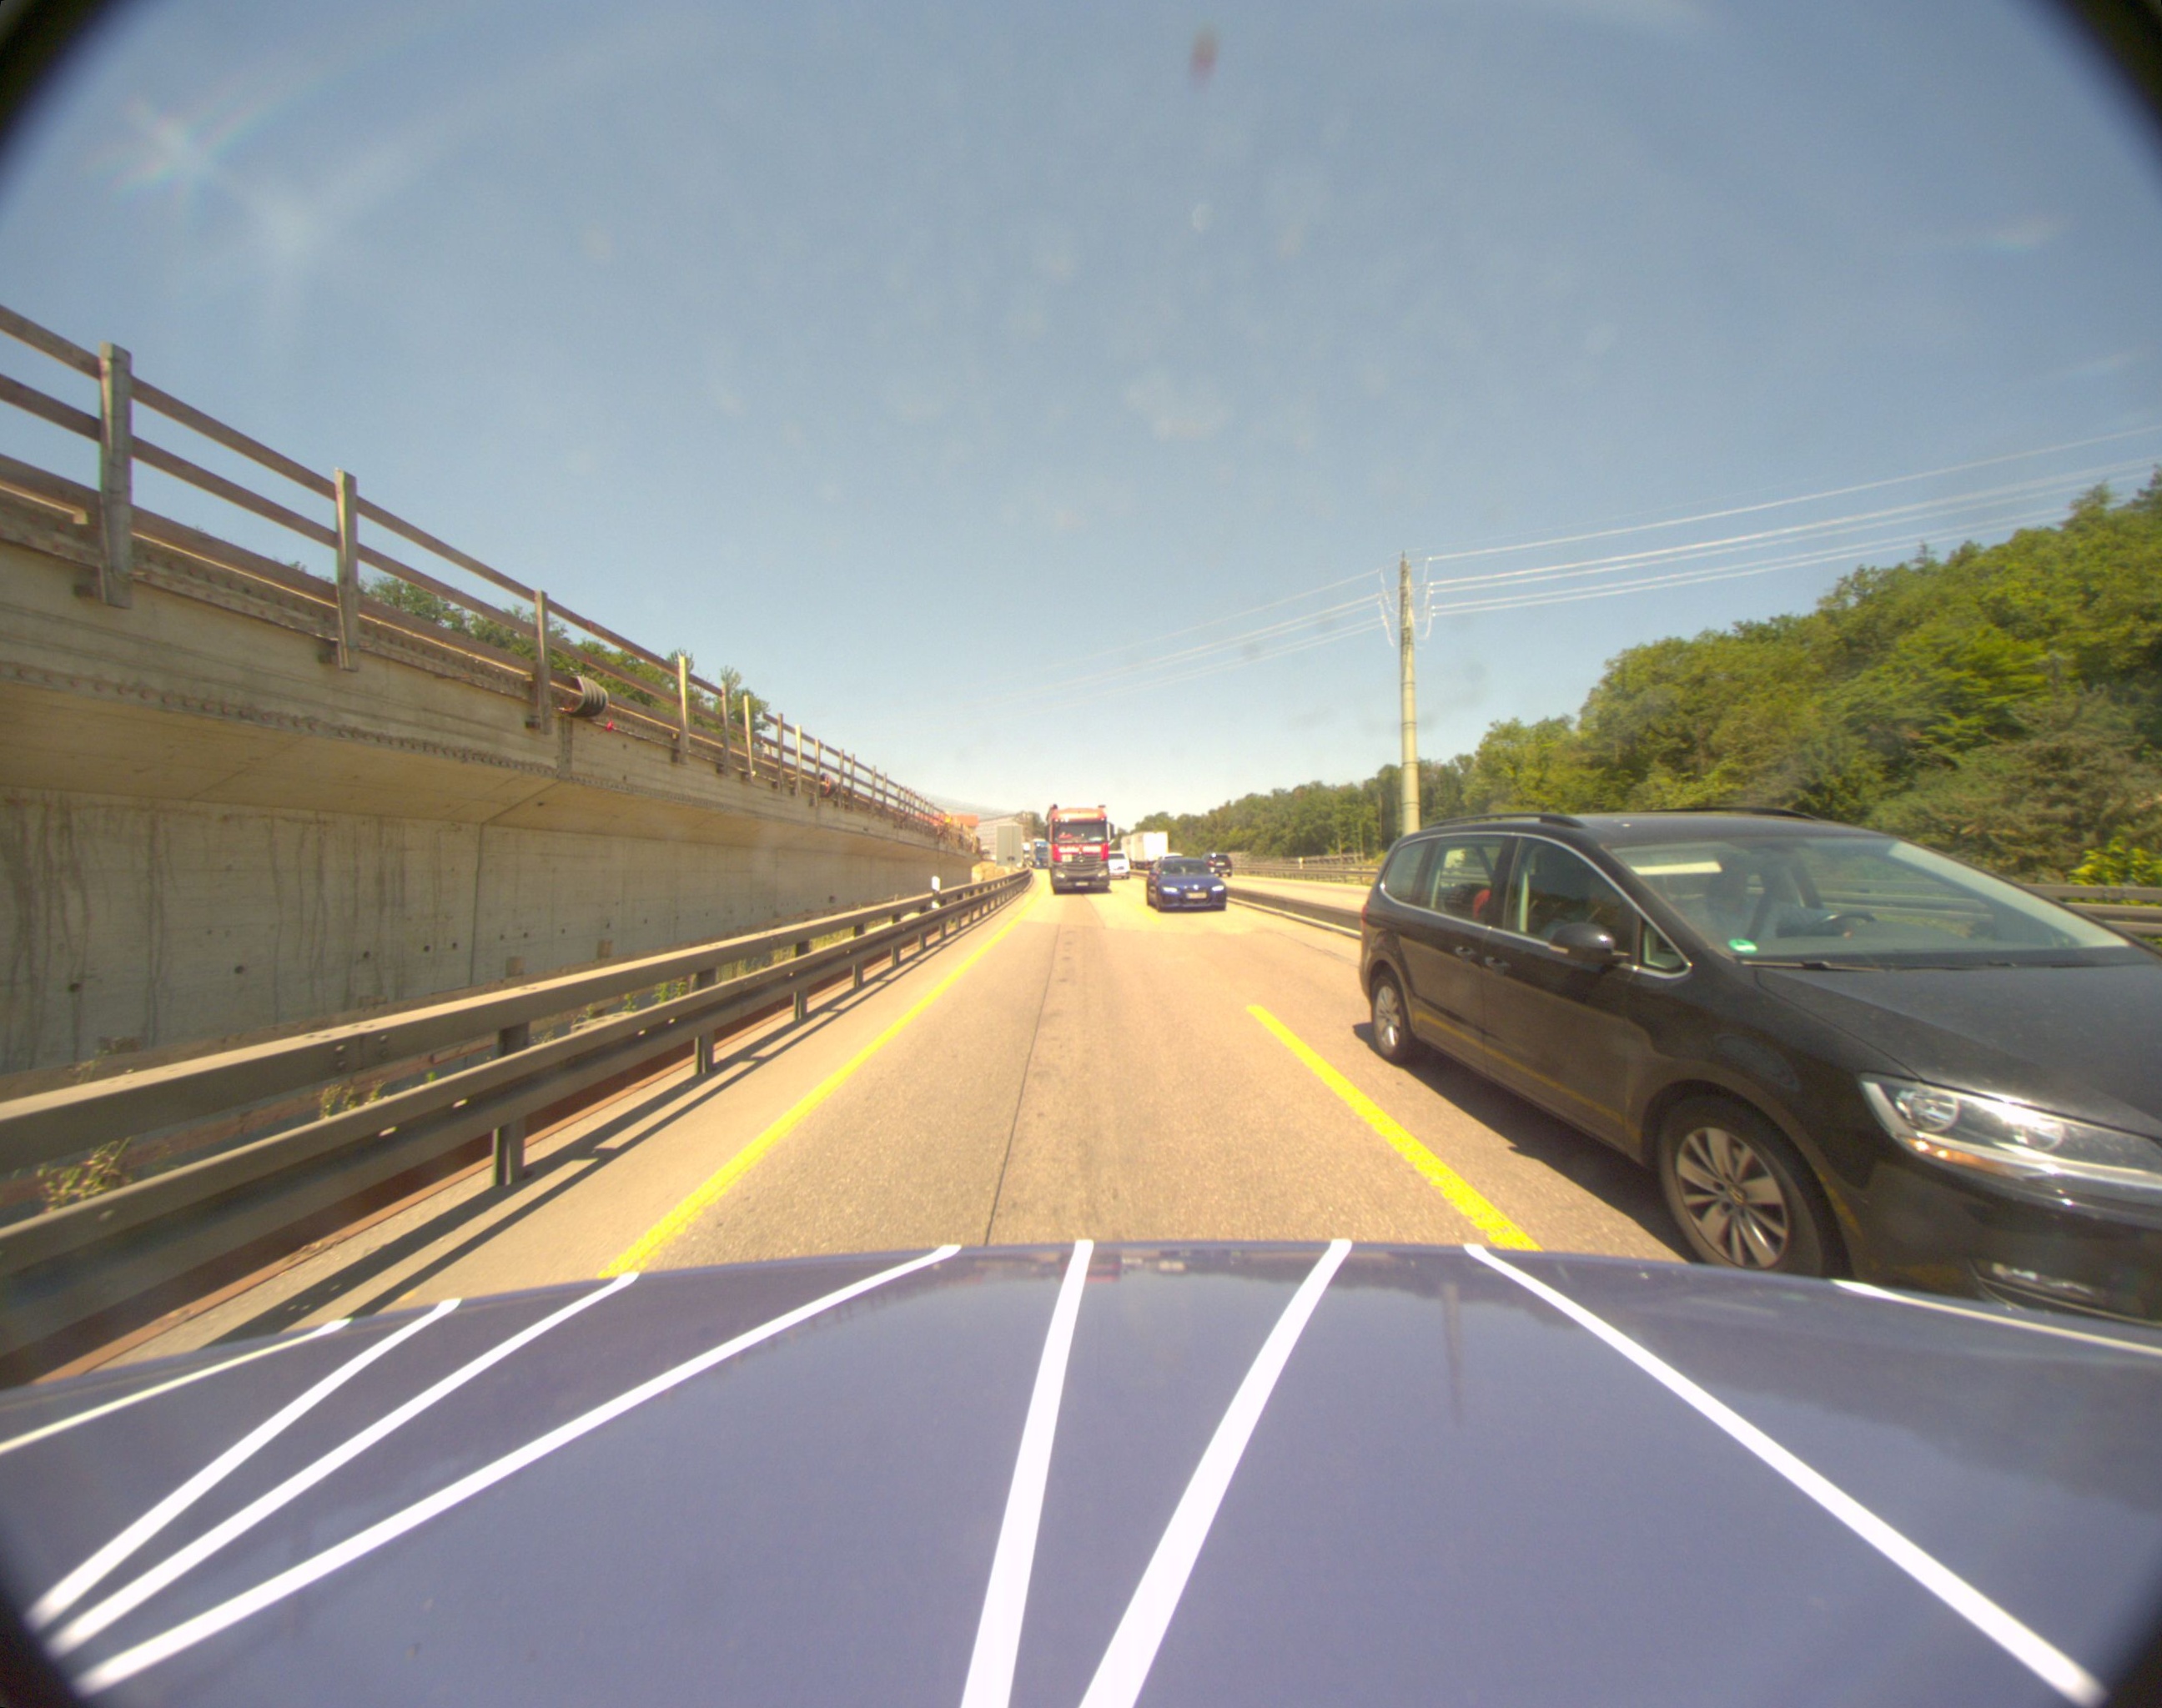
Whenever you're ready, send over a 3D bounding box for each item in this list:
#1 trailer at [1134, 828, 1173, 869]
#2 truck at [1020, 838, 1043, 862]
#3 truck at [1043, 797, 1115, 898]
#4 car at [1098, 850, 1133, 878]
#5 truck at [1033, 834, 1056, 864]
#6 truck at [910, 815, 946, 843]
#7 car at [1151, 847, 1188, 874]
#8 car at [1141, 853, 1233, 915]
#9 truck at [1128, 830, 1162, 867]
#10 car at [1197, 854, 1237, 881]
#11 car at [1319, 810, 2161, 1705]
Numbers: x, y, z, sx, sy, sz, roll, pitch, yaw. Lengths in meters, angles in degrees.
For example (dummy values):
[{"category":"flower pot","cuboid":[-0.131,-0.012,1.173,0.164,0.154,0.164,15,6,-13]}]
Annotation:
[{"category":"trailer","cuboid":[7.731,-0.600,82.132,3.011,4.141,9.015,-1,0,-1]},{"category":"truck","cuboid":[-9.504,-0.808,144.550,2.913,4.208,9.229,-2,1,-13]},{"category":"truck","cuboid":[-0.183,-0.366,35.962,2.798,3.986,10.426,-1,1,-1]},{"category":"car","cuboid":[2.336,0.684,52.963,1.947,1.858,5.222,-1,0,-2]},{"category":"truck","cuboid":[-5.289,-0.669,108.181,2.673,3.985,10.424,-1,0,-6]},{"category":"truck","cuboid":[-22.402,-3.634,111.302,2.714,3.672,5.720,-1,-2,17]},{"category":"car","cuboid":[5.856,0.384,50.746,1.754,1.677,4.385,-1,1,-2]},{"category":"car","cuboid":[2.939,0.790,22.118,1.896,1.546,4.785,-1,0,-1]},{"category":"truck","cuboid":[7.607,-0.567,91.891,2.986,4.138,10.544,-2,0,-1]},{"category":"car","cuboid":[9.502,0.902,53.457,1.911,1.732,4.661,-1,1,-1]},{"category":"car","cuboid":[3.008,0.753,4.056,1.861,1.695,5.304,-1,0,1]}]
